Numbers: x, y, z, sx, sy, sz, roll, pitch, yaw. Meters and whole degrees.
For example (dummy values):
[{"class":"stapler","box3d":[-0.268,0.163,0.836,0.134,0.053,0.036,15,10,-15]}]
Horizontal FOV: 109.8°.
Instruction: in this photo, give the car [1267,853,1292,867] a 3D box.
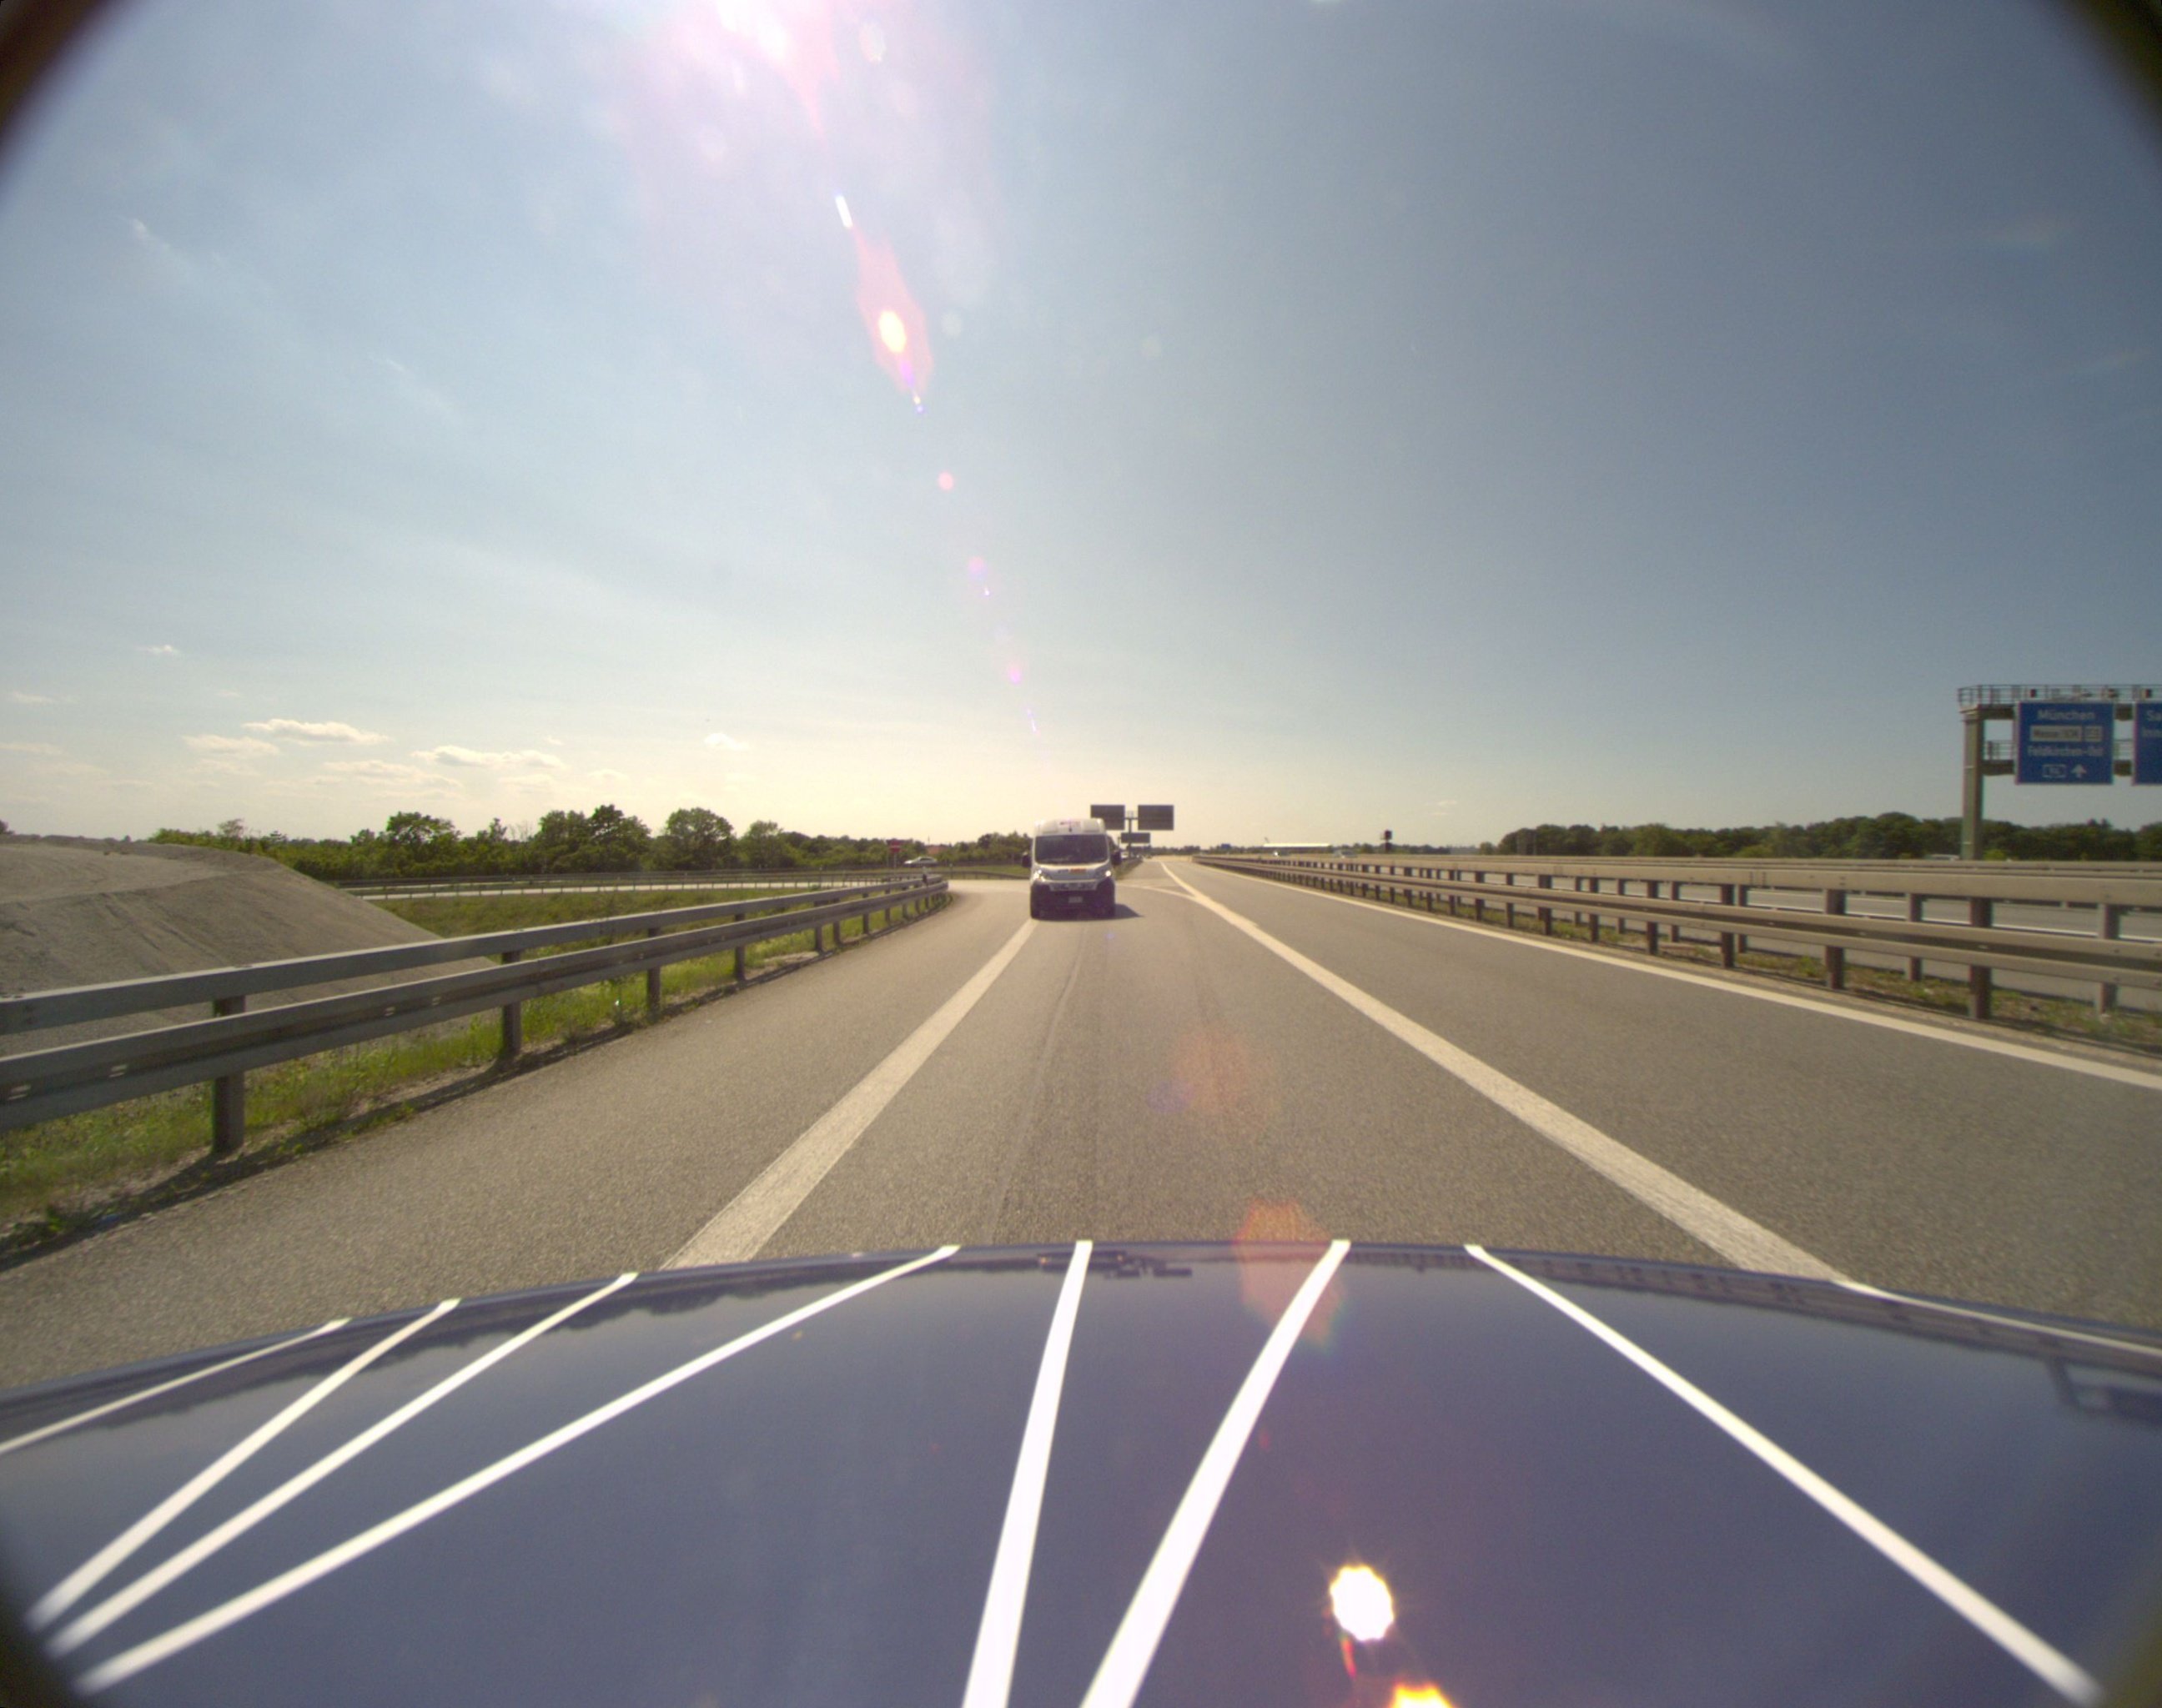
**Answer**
[{"class":"car","box3d":[22.243,0.623,85.362,1.834,1.424,4.217,-1,1,3]}]

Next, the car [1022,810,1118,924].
[{"class":"car","box3d":[-0.257,0.310,20.593,2.087,2.509,6.237,-3,0,0]}]

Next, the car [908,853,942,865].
[{"class":"car","box3d":[-22.357,0.697,108.693,4.305,1.499,1.995,-3,1,-30]}]

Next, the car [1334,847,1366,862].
[{"class":"car","box3d":[25.974,0.038,73.464,1.766,1.414,4.216,-1,1,3]}]

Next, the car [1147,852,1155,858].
[{"class":"car","box3d":[21.753,0.284,236.699,1.999,1.744,3.998,-1,1,-2]}]
